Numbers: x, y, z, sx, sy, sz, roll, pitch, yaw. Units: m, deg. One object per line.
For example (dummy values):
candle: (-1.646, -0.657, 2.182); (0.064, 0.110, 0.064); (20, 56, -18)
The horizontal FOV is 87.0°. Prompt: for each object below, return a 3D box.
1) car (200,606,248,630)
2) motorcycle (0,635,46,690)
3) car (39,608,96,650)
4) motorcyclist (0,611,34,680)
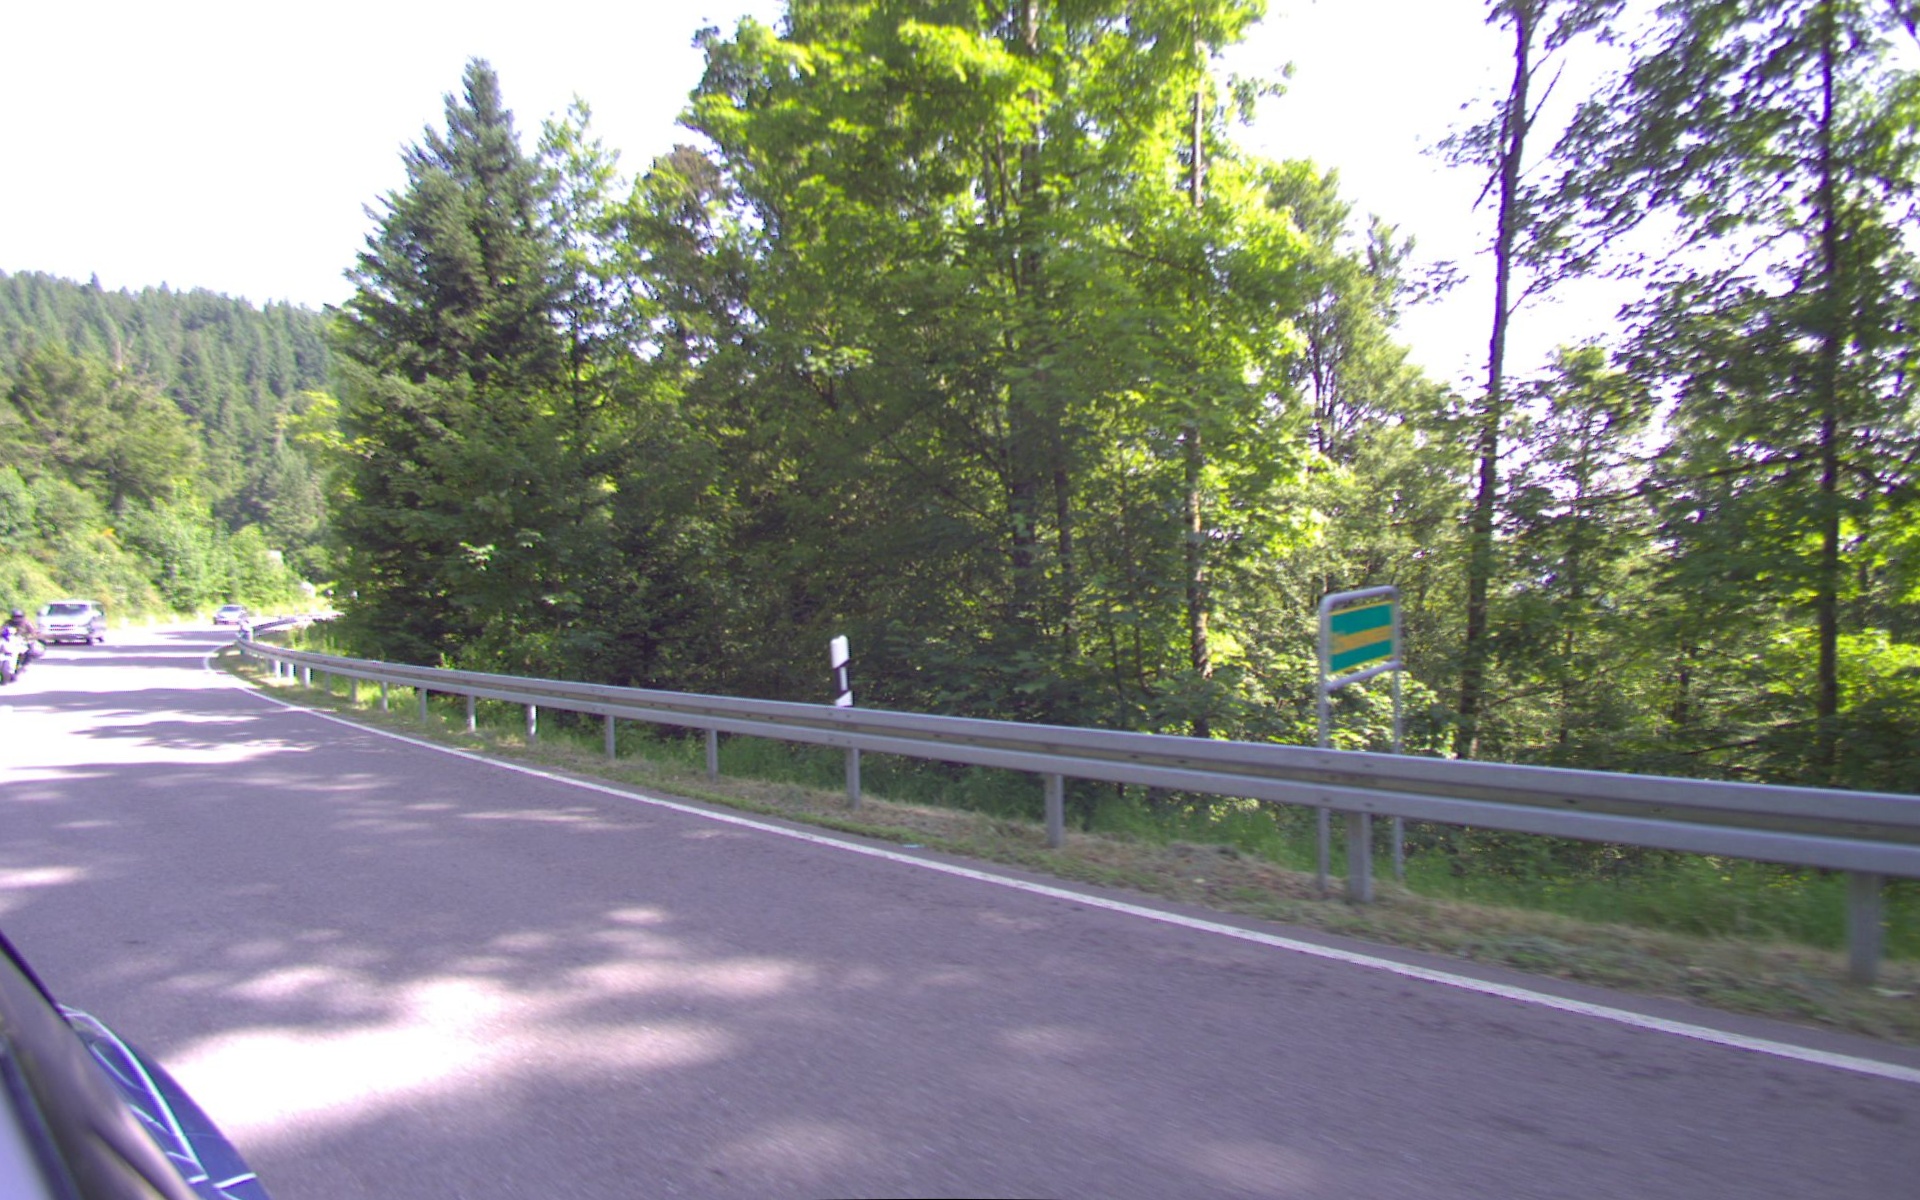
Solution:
car: (-55.953, 1.357, 77.024); (1.965, 1.655, 4.013); (0, 1, -21)
motorcycle: (-20.628, 1.334, 21.932); (1.093, 1.132, 1.964); (1, -1, -39)
car: (-38.963, 1.249, 44.246); (1.628, 1.773, 3.801); (1, -2, -39)
motorcyclist: (-20.628, 0.972, 21.960); (0.706, 1.441, 1.001); (-1, 0, -38)
